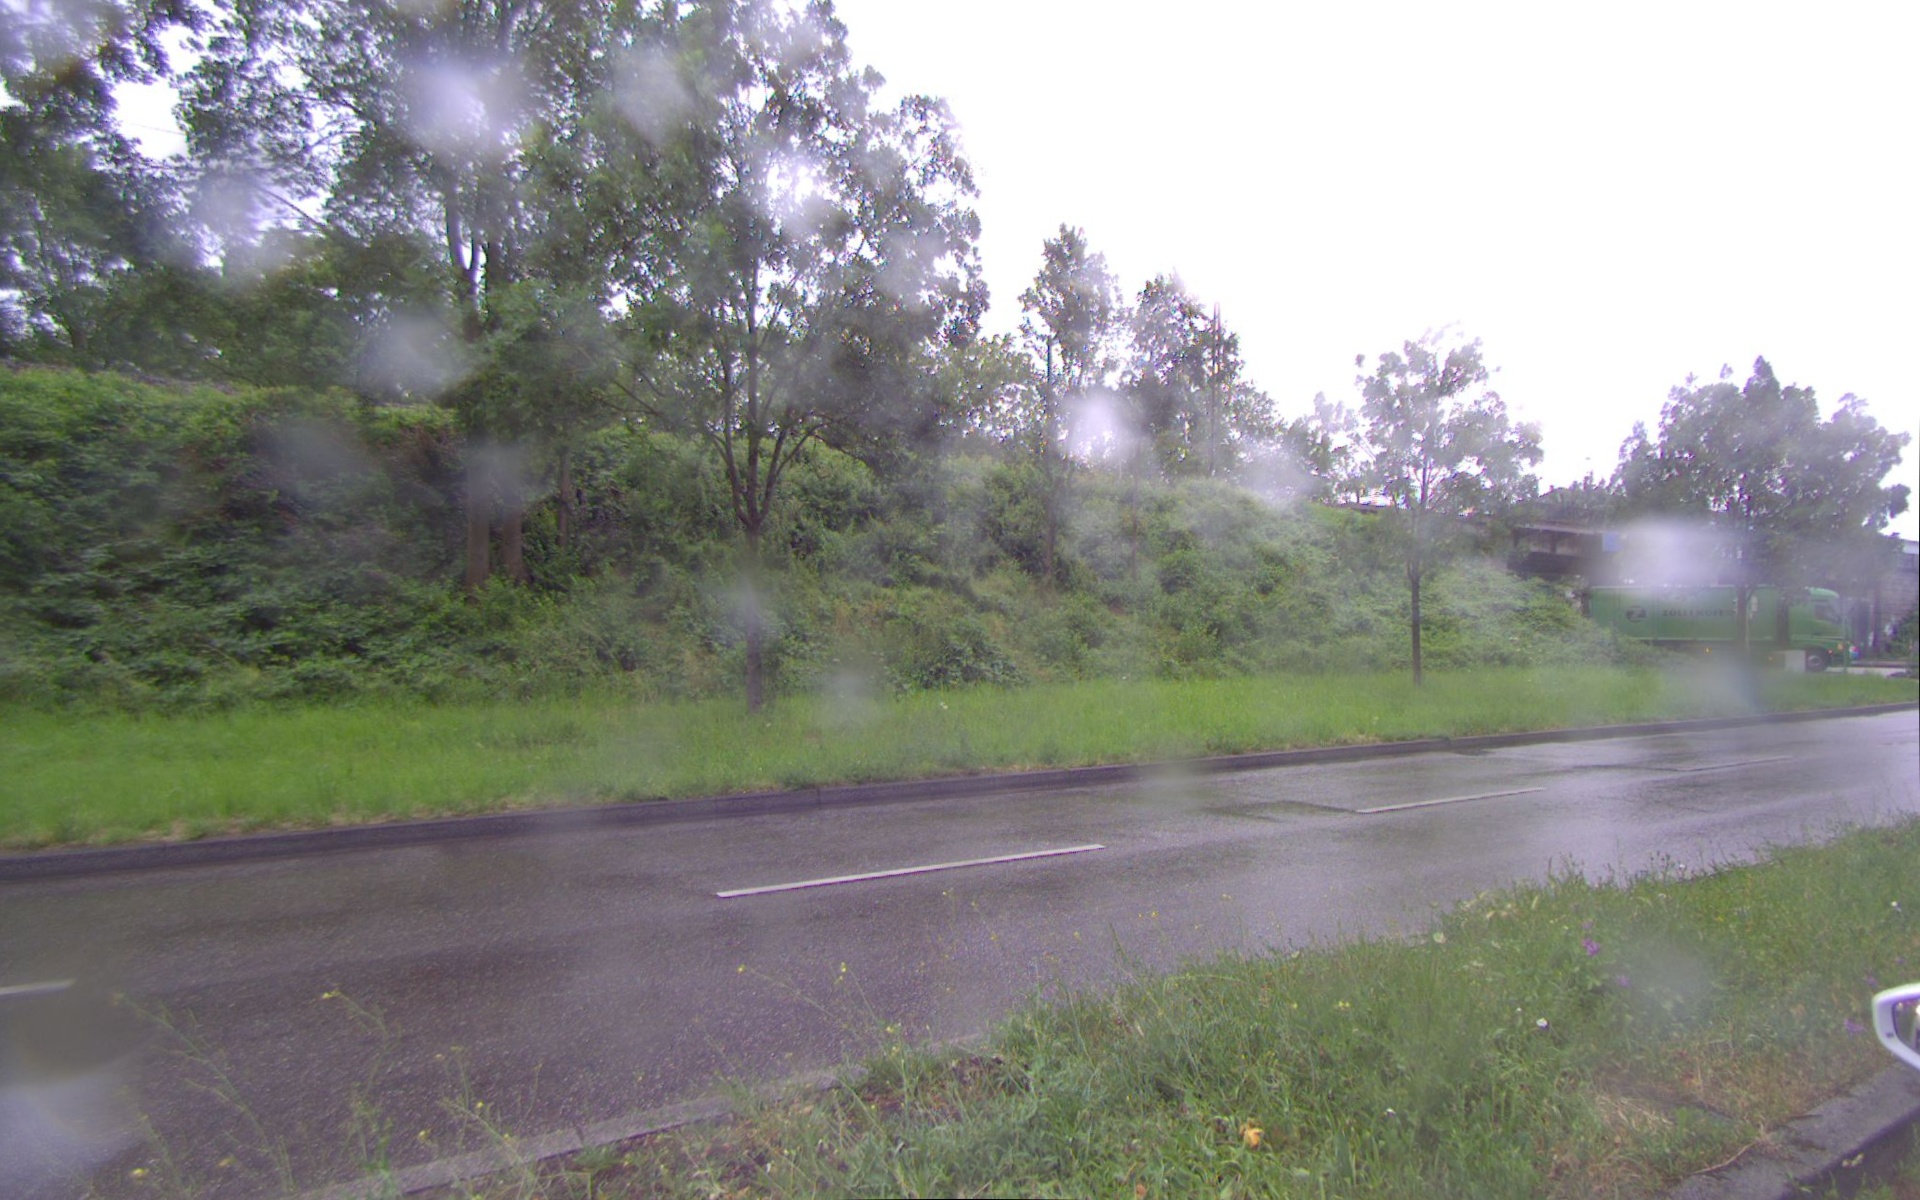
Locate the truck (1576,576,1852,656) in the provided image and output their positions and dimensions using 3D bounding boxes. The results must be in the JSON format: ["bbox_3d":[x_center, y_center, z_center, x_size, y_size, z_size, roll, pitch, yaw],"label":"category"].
[{"bbox_3d":[34.333,0.696,46.312,9.872,3.416,2.346,0,-1,25],"label":"truck"}]

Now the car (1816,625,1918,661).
[{"bbox_3d":[53.273,2.520,59.079,3.919,1.913,2.001,1,1,11],"label":"car"}]
